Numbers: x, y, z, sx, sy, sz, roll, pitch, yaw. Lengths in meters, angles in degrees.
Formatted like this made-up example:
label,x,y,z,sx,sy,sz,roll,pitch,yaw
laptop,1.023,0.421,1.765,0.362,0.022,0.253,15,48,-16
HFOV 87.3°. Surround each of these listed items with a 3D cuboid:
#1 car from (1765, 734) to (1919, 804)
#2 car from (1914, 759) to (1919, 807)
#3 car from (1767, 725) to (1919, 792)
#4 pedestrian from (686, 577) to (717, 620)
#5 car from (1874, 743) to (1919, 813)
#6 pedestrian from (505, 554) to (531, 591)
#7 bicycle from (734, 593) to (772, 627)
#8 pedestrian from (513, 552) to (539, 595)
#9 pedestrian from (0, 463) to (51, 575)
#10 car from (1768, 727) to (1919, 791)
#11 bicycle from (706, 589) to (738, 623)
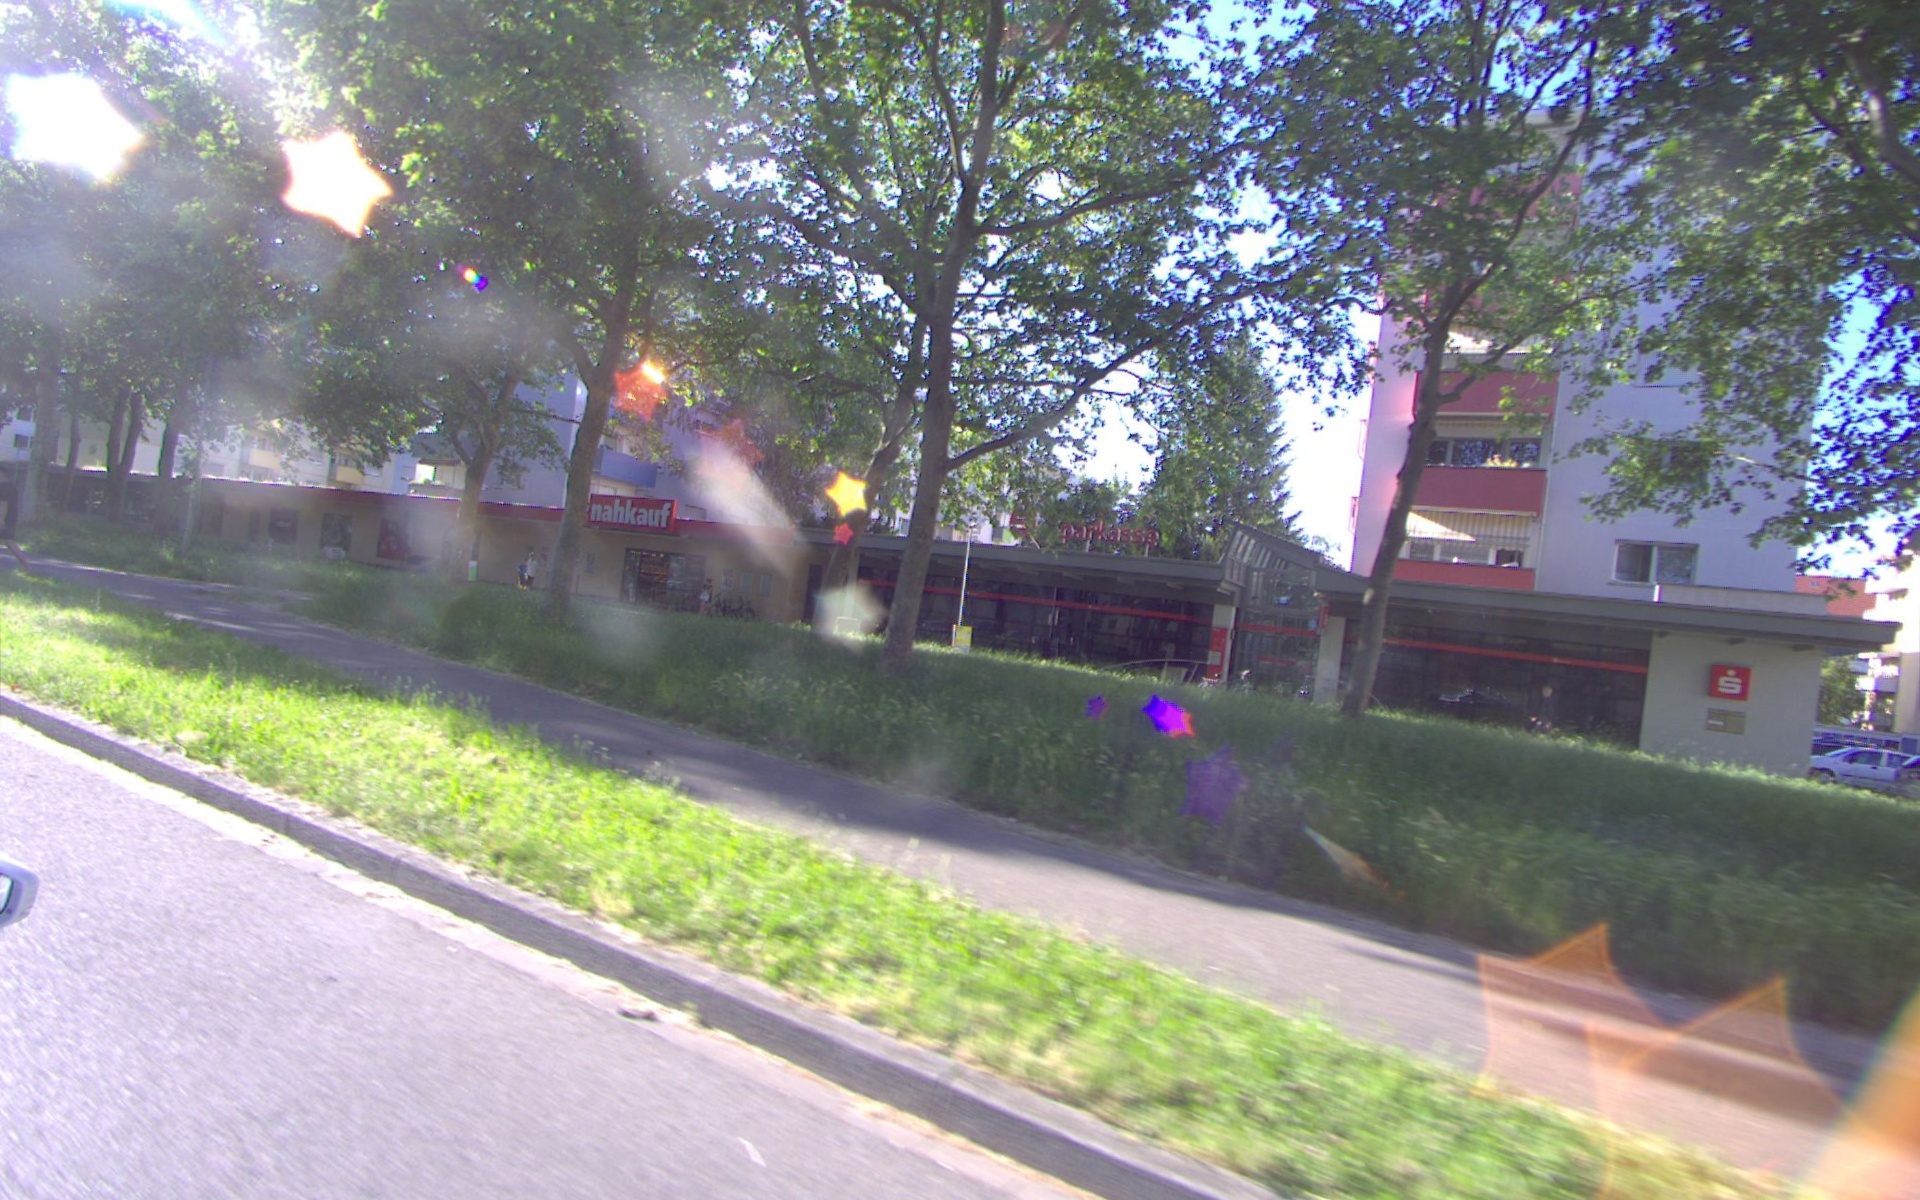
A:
label,x,y,z,sx,sy,sz,roll,pitch,yaw
car,29.965,5.664,33.752,4.131,1.576,1.981,7,0,28
car,30.853,5.771,29.889,3.493,1.440,1.914,8,-1,-12
car,31.529,5.599,35.661,4.134,1.576,1.980,7,-1,31
pedestrian,-10.211,-0.061,39.737,0.703,1.604,0.672,8,1,26
car,24.454,4.485,23.563,4.044,1.521,1.873,7,-1,30
pedestrian,-18.869,-1.174,42.909,0.703,1.448,0.532,8,1,26
bicycle,-8.242,0.397,39.998,0.594,1.193,1.832,8,-2,-37
pedestrian,-18.770,-1.140,43.470,0.703,1.721,0.496,8,1,26
pedestrian,-16.961,-1.445,17.795,0.788,1.908,0.925,7,0,-15
car,33.121,5.887,37.618,4.134,1.576,1.980,7,-1,31
bicycle,-9.611,0.225,40.620,0.593,1.193,1.836,8,-2,-31
